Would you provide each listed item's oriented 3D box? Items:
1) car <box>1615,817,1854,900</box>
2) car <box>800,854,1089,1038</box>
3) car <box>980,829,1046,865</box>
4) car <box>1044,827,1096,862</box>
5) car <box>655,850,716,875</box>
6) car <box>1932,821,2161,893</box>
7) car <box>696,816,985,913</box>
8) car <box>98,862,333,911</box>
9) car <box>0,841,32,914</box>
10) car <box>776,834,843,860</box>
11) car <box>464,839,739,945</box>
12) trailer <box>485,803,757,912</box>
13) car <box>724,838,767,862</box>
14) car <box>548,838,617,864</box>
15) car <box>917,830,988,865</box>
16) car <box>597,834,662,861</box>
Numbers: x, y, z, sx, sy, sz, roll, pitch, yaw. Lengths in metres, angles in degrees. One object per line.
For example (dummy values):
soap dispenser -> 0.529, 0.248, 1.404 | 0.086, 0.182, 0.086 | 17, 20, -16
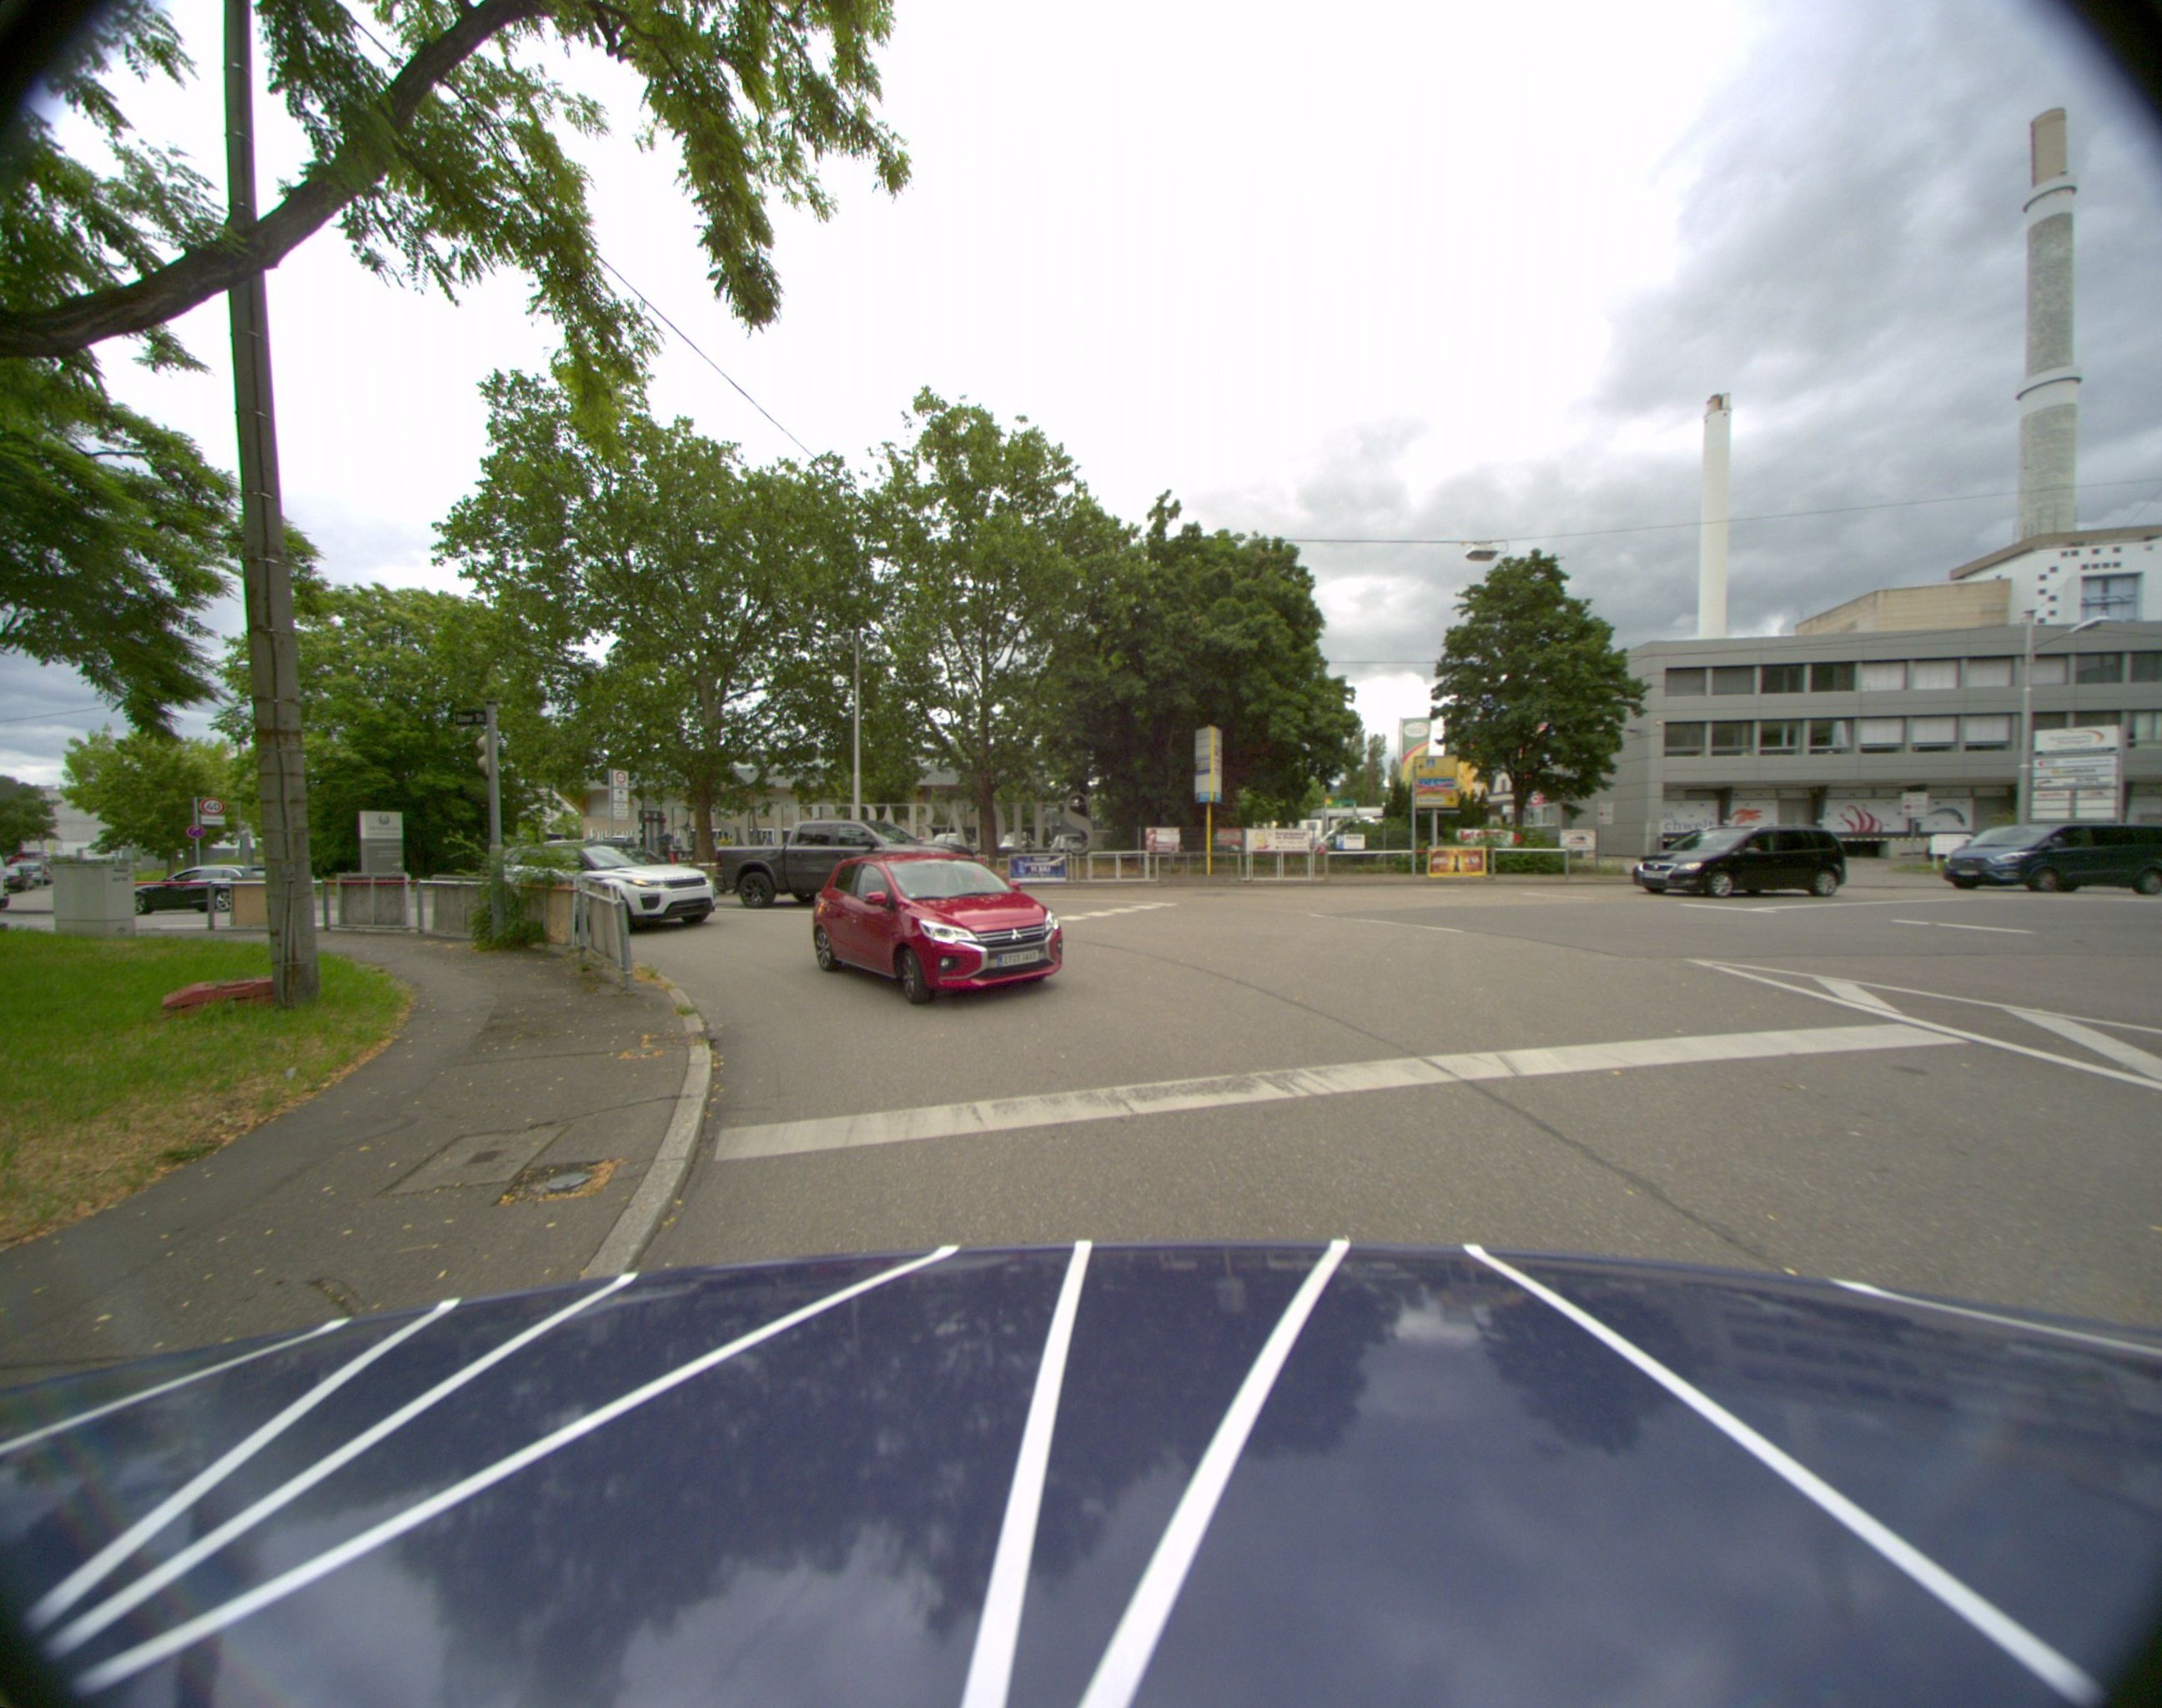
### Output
car -> 15.072, 0.102, 17.632 | 4.230, 1.762, 1.831 | 1, 1, -8
car -> -1.762, 0.824, 8.797 | 1.771, 1.521, 3.730 | -4, 3, -36
car -> -3.229, -0.404, 37.227 | 1.997, 1.449, 4.701 | -3, 2, 10
car -> -0.478, -0.521, 37.403 | 1.998, 1.449, 4.700 | -4, 2, 5
car -> -26.553, 0.540, 51.159 | 1.915, 1.499, 3.999 | 0, 1, 1
car -> 27.779, 0.067, 21.728 | 4.799, 1.934, 1.832 | -1, 1, 0
car -> -5.274, 0.151, 16.932 | 5.861, 1.969, 1.951 | 0, 3, 11
car -> -26.733, 1.033, 23.586 | 5.216, 1.448, 2.002 | 0, -4, 4
car -> -41.018, 1.019, 26.885 | 6.472, 2.528, 2.194 | -3, 3, 15
car -> -17.788, -0.499, 50.034 | 1.936, 1.423, 5.251 | -4, 2, 6
car -> -8.780, 0.681, 14.031 | 4.106, 1.560, 1.919 | -4, 1, 15
trailer -> -10.807, 0.075, 18.022 | 5.379, 2.374, 2.152 | 0, 1, 11
car -> -27.570, -0.346, 62.532 | 1.752, 1.675, 3.570 | -4, 2, 1
car -> -33.129, -0.229, 50.675 | 1.915, 1.691, 3.999 | 0, 1, 1
car -> -6.303, -0.375, 37.881 | 1.997, 1.449, 4.701 | -3, 2, 10
car -> -29.946, -0.442, 50.550 | 1.915, 1.691, 3.999 | 0, 1, 1
